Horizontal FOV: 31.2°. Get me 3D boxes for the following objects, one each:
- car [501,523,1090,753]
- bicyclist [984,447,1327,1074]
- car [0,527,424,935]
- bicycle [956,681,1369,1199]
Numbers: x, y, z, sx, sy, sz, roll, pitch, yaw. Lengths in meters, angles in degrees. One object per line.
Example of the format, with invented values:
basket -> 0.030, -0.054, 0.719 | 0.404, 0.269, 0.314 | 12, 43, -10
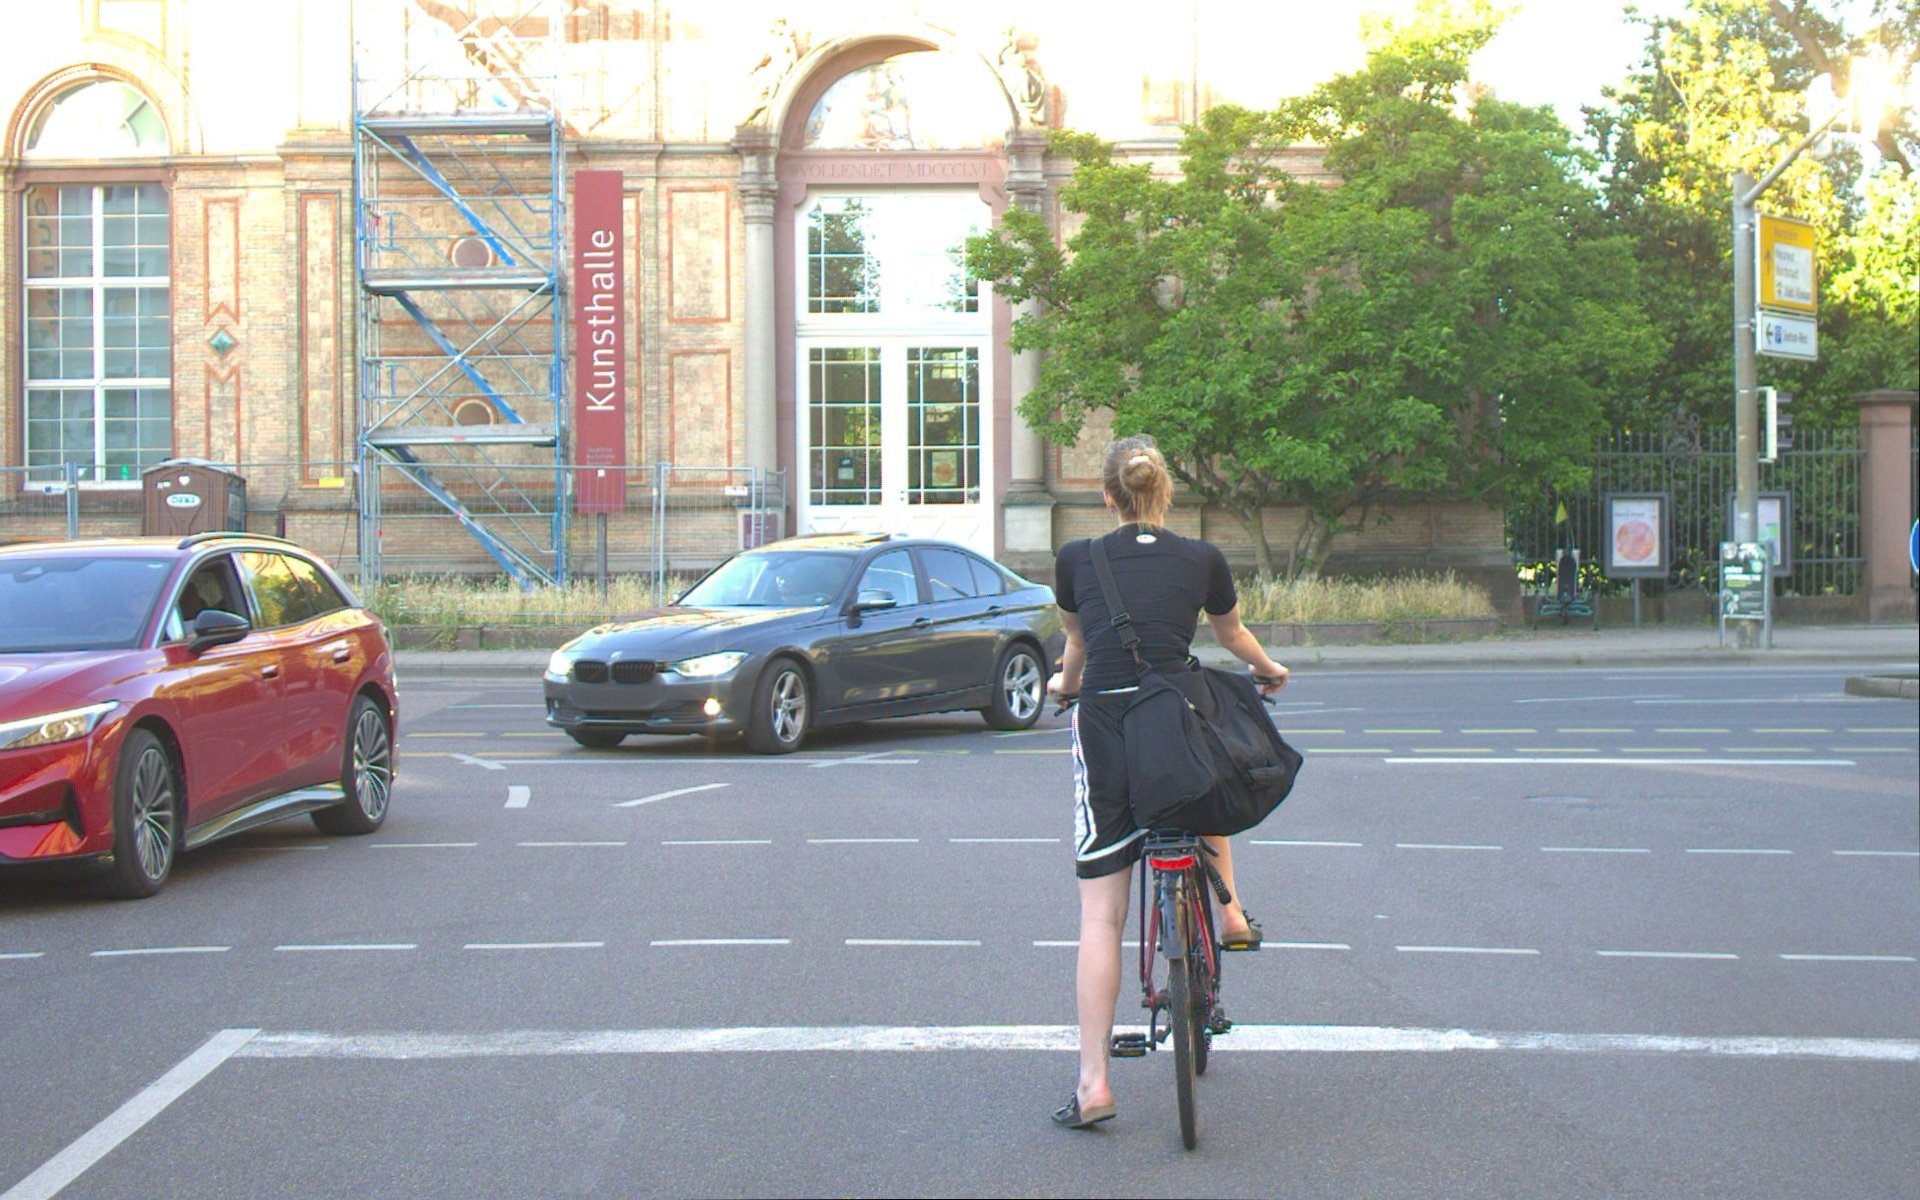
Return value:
car -> -1.066, 0.213, 24.489 | 1.786, 1.454, 4.414 | -1, 1, 36
bicyclist -> 0.512, 0.388, 8.715 | 0.716, 1.497, 0.850 | -1, -1, 14
car -> -4.098, 0.480, 15.965 | 1.831, 1.540, 4.846 | -1, 2, 8
bicycle -> 0.584, 0.809, 8.988 | 0.712, 1.152, 2.067 | -1, 0, 14
